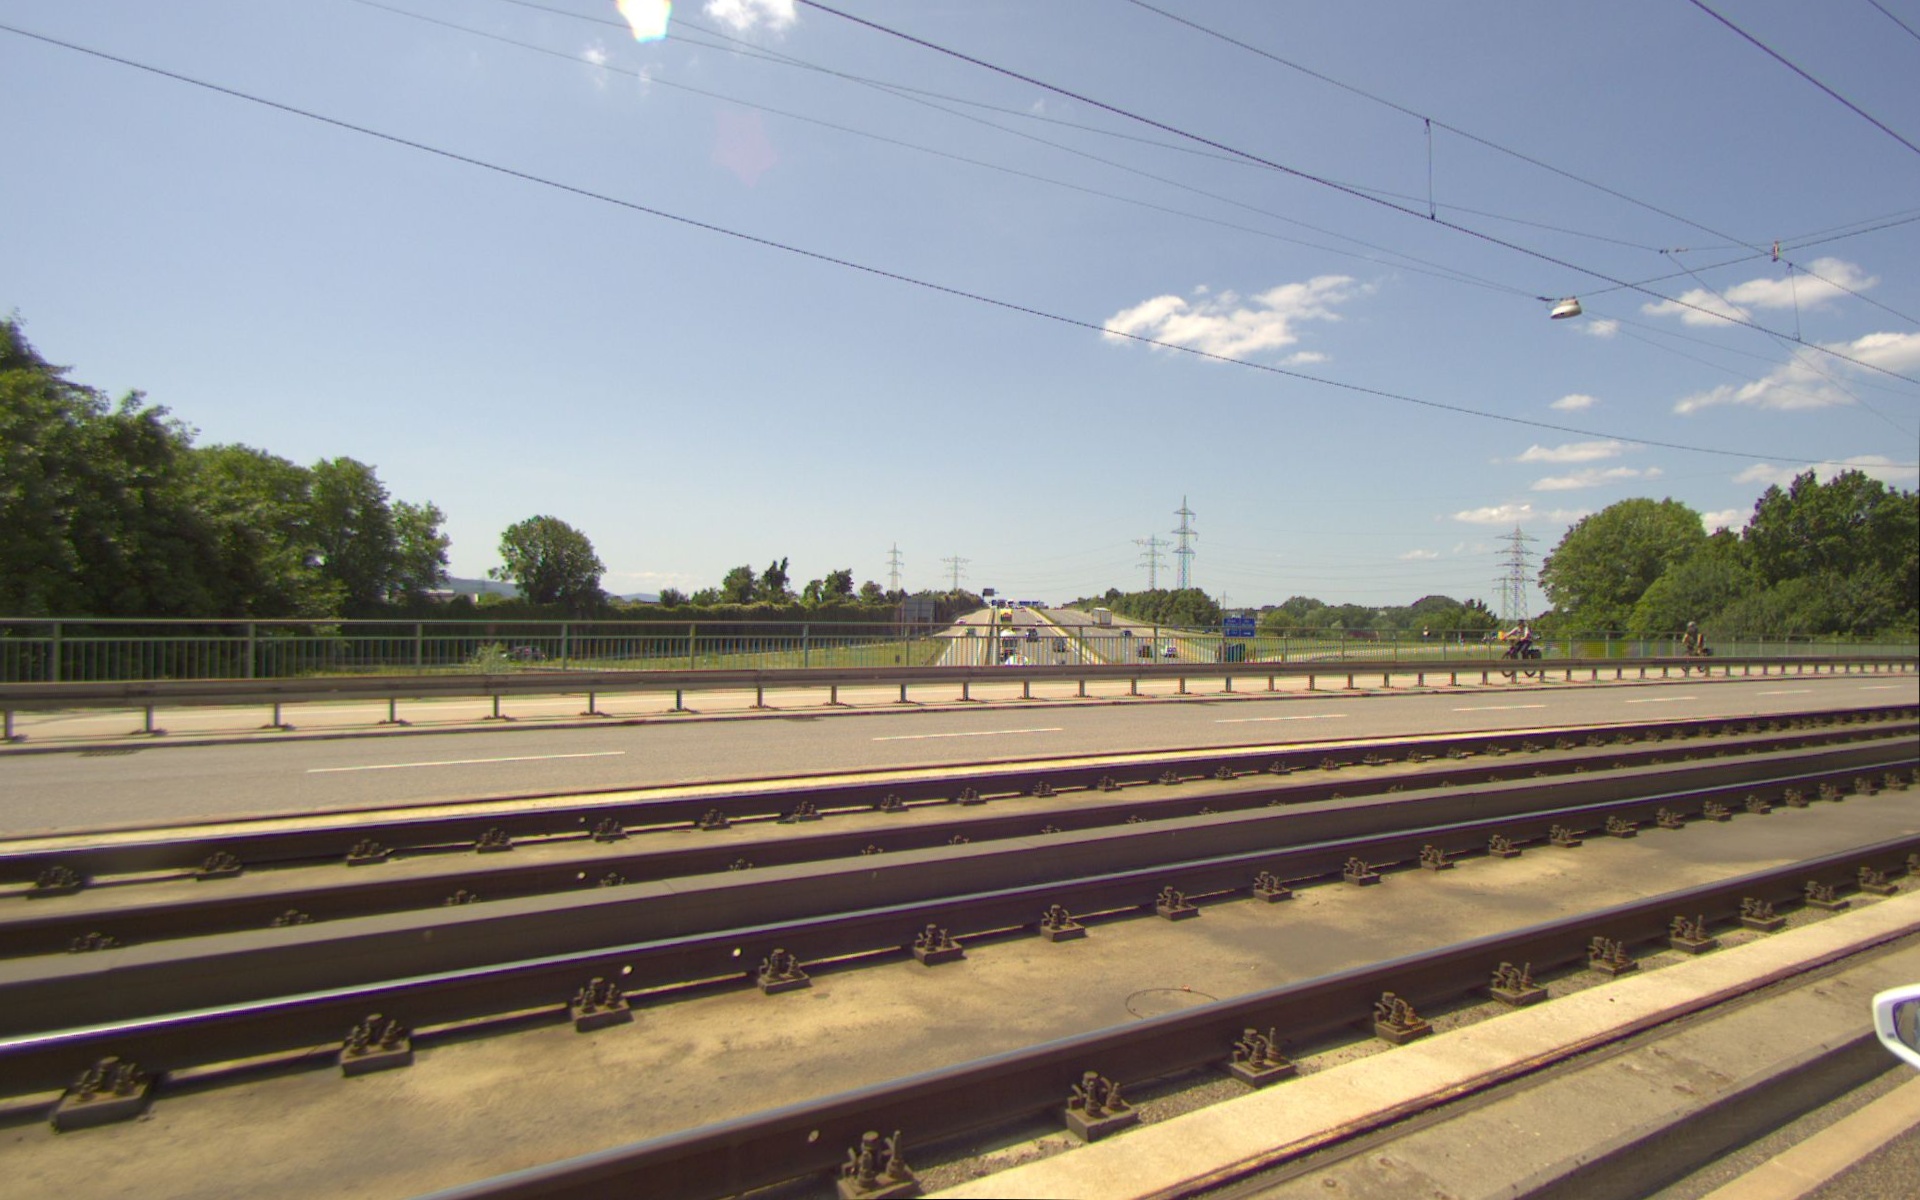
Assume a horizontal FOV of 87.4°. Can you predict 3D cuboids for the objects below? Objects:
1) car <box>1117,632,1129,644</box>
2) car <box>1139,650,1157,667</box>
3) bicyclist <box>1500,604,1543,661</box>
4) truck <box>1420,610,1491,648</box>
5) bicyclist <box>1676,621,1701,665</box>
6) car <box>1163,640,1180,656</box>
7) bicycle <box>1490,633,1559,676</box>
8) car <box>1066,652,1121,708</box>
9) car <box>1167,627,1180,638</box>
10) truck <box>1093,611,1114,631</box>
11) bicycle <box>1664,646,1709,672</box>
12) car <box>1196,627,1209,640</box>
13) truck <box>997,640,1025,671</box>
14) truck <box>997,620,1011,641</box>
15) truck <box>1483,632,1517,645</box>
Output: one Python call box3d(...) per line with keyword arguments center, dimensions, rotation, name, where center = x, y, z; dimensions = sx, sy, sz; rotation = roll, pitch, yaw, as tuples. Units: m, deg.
box3d(center=(29.710, 6.981, 183.068), dimensions=(1.896, 1.665, 4.001), rotation=(3, 4, 6), name="car")
box3d(center=(24.670, 7.621, 132.115), dimensions=(1.705, 1.664, 4.000), rotation=(4, 4, 4), name="car")
box3d(center=(16.722, 0.958, 29.905), dimensions=(0.828, 1.643, 0.759), rotation=(2, 0, -30), name="bicyclist")
box3d(center=(85.657, 4.931, 173.863), dimensions=(10.616, 5.714, 3.289), rotation=(4, 4, 29), name="truck")
box3d(center=(25.362, 1.493, 34.967), dimensions=(0.524, 1.517, 0.518), rotation=(1, 1, -32), name="bicyclist")
box3d(center=(28.717, 6.482, 136.656), dimensions=(1.705, 1.665, 4.000), rotation=(2, 4, 5), name="car")
box3d(center=(16.824, 1.613, 29.939), dimensions=(2.038, 1.201, 0.852), rotation=(2, 0, -30), name="bicycle")
box3d(center=(14.998, 8.789, 114.806), dimensions=(4.919, 4.547, 22.466), rotation=(2, 0, 5), name="car")
box3d(center=(41.660, 6.316, 196.373), dimensions=(1.706, 1.665, 3.999), rotation=(3, 4, 1), name="car")
box3d(center=(31.600, 4.608, 221.054), dimensions=(3.591, 3.756, 8.200), rotation=(1, 2, 2), name="truck")
box3d(center=(25.269, 2.049, 34.926), dimensions=(2.013, 0.854, 0.520), rotation=(1, 1, -32), name="bicycle")
box3d(center=(40.342, 5.588, 167.132), dimensions=(1.705, 1.665, 4.001), rotation=(4, 4, 10), name="car")
box3d(center=(6.751, 7.111, 130.347), dimensions=(2.693, 3.268, 13.735), rotation=(2, 0, 6), name="truck")
box3d(center=(9.088, 6.297, 208.437), dimensions=(2.588, 3.811, 16.555), rotation=(2, 0, 2), name="truck")
box3d(center=(87.611, 6.232, 163.053), dimensions=(4.721, 1.792, 1.945), rotation=(2, 2, 34), name="truck")
